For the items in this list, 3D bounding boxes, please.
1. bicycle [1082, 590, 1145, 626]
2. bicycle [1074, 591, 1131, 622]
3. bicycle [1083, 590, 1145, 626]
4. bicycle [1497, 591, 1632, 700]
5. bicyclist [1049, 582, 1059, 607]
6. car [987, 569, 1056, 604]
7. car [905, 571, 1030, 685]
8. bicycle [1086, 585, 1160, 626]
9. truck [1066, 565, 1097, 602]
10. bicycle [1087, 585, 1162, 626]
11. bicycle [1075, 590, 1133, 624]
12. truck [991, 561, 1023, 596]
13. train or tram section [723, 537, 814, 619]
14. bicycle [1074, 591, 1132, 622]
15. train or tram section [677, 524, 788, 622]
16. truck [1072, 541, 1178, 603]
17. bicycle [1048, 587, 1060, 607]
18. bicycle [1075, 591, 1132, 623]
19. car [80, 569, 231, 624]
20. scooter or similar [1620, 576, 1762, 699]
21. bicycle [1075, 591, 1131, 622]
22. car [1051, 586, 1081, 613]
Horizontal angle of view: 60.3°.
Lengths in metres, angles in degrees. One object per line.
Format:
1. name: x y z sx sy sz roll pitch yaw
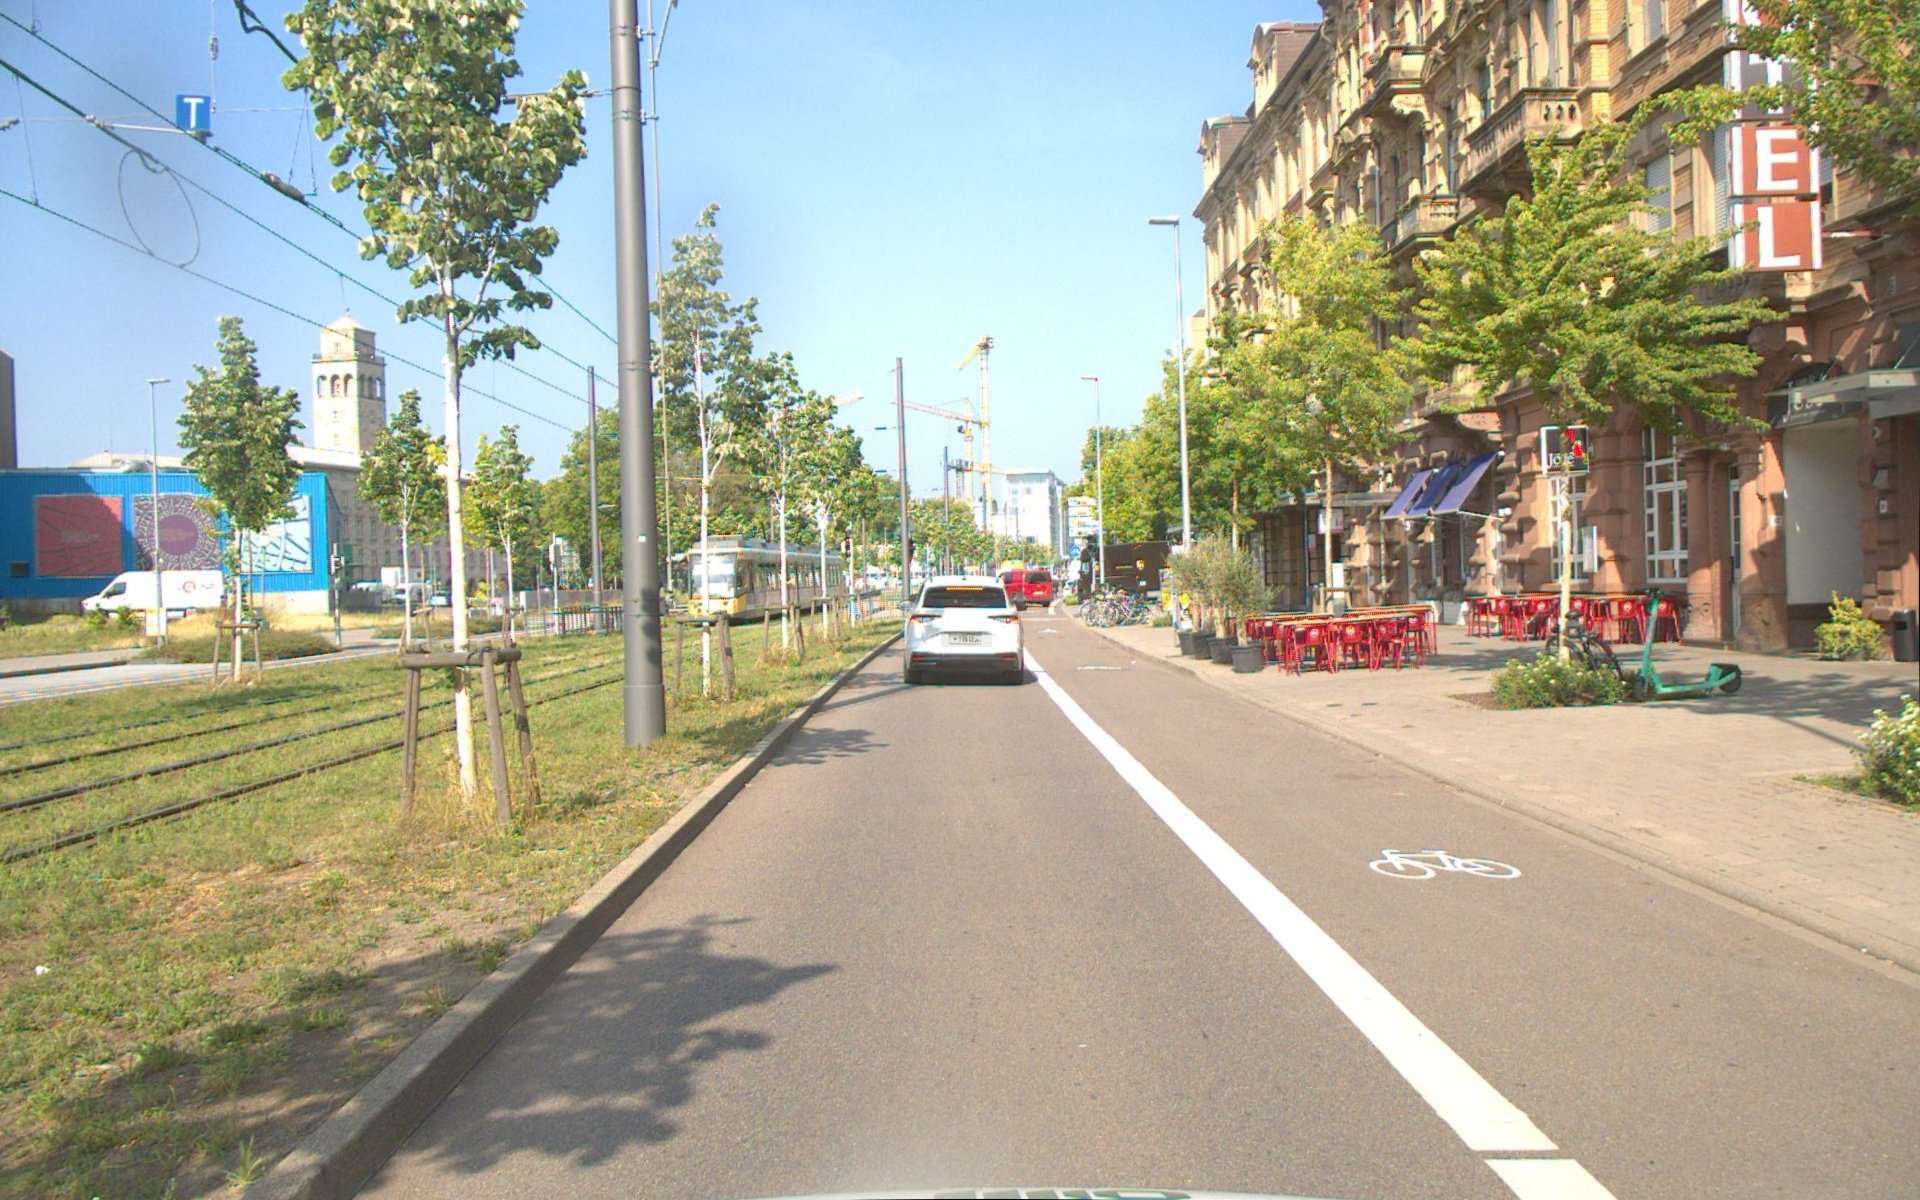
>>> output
1. bicycle: 4.901 0.253 52.927 1.915 1.003 0.471 -4 0 1
2. bicycle: 4.921 0.224 57.090 1.894 0.962 0.429 -4 0 3
3. bicycle: 4.881 0.252 52.446 1.895 1.003 0.471 -4 0 1
4. bicycle: 6.711 0.479 18.465 0.584 1.142 1.923 -1 0 -7
5. bicyclist: 7.398 -0.469 129.528 0.694 1.929 0.843 -2 0 0
6. car: 3.124 -0.675 85.364 1.966 1.713 4.340 -2 1 -22
7. car: 0.075 0.387 26.043 1.780 1.617 4.406 -1 0 -1
8. bicycle: 5.087 0.165 51.657 2.193 1.123 0.519 -4 0 1
9. truck: 8.623 -1.206 118.008 1.952 2.552 4.001 -1 1 1
10. bicycle: 5.069 0.164 51.102 2.193 1.123 0.588 -4 0 1
11. bicycle: 4.847 0.243 55.781 1.894 1.030 0.441 -4 0 3
12. truck: 3.341 -1.515 117.407 2.167 2.358 5.891 -1 1 1
13. train or tram section: -9.339 -1.023 82.137 2.839 3.649 12.934 -2 0 0
14. bicycle: 4.896 0.223 56.706 1.894 0.962 0.441 -4 0 3
15. train or tram section: -9.362 -1.044 69.480 2.839 3.649 12.476 -2 0 0
16. truck: 8.440 -1.409 85.572 2.475 3.064 6.913 -2 1 -22
17. bicycle: 7.395 -0.276 129.689 0.765 1.522 2.801 -2 1 1
18. bicycle: 4.870 0.222 56.227 1.894 0.962 0.441 -4 0 3
19. car: -41.522 -0.164 85.632 6.778 2.685 2.498 1 0 -22
20. scooter or similar: 7.550 0.385 17.101 1.230 1.177 0.340 -4 0 3
21. bicycle: 4.962 0.225 57.533 1.894 0.962 0.429 -4 0 3
22. car: 6.396 -0.048 99.924 1.615 1.525 3.529 -1 1 6
